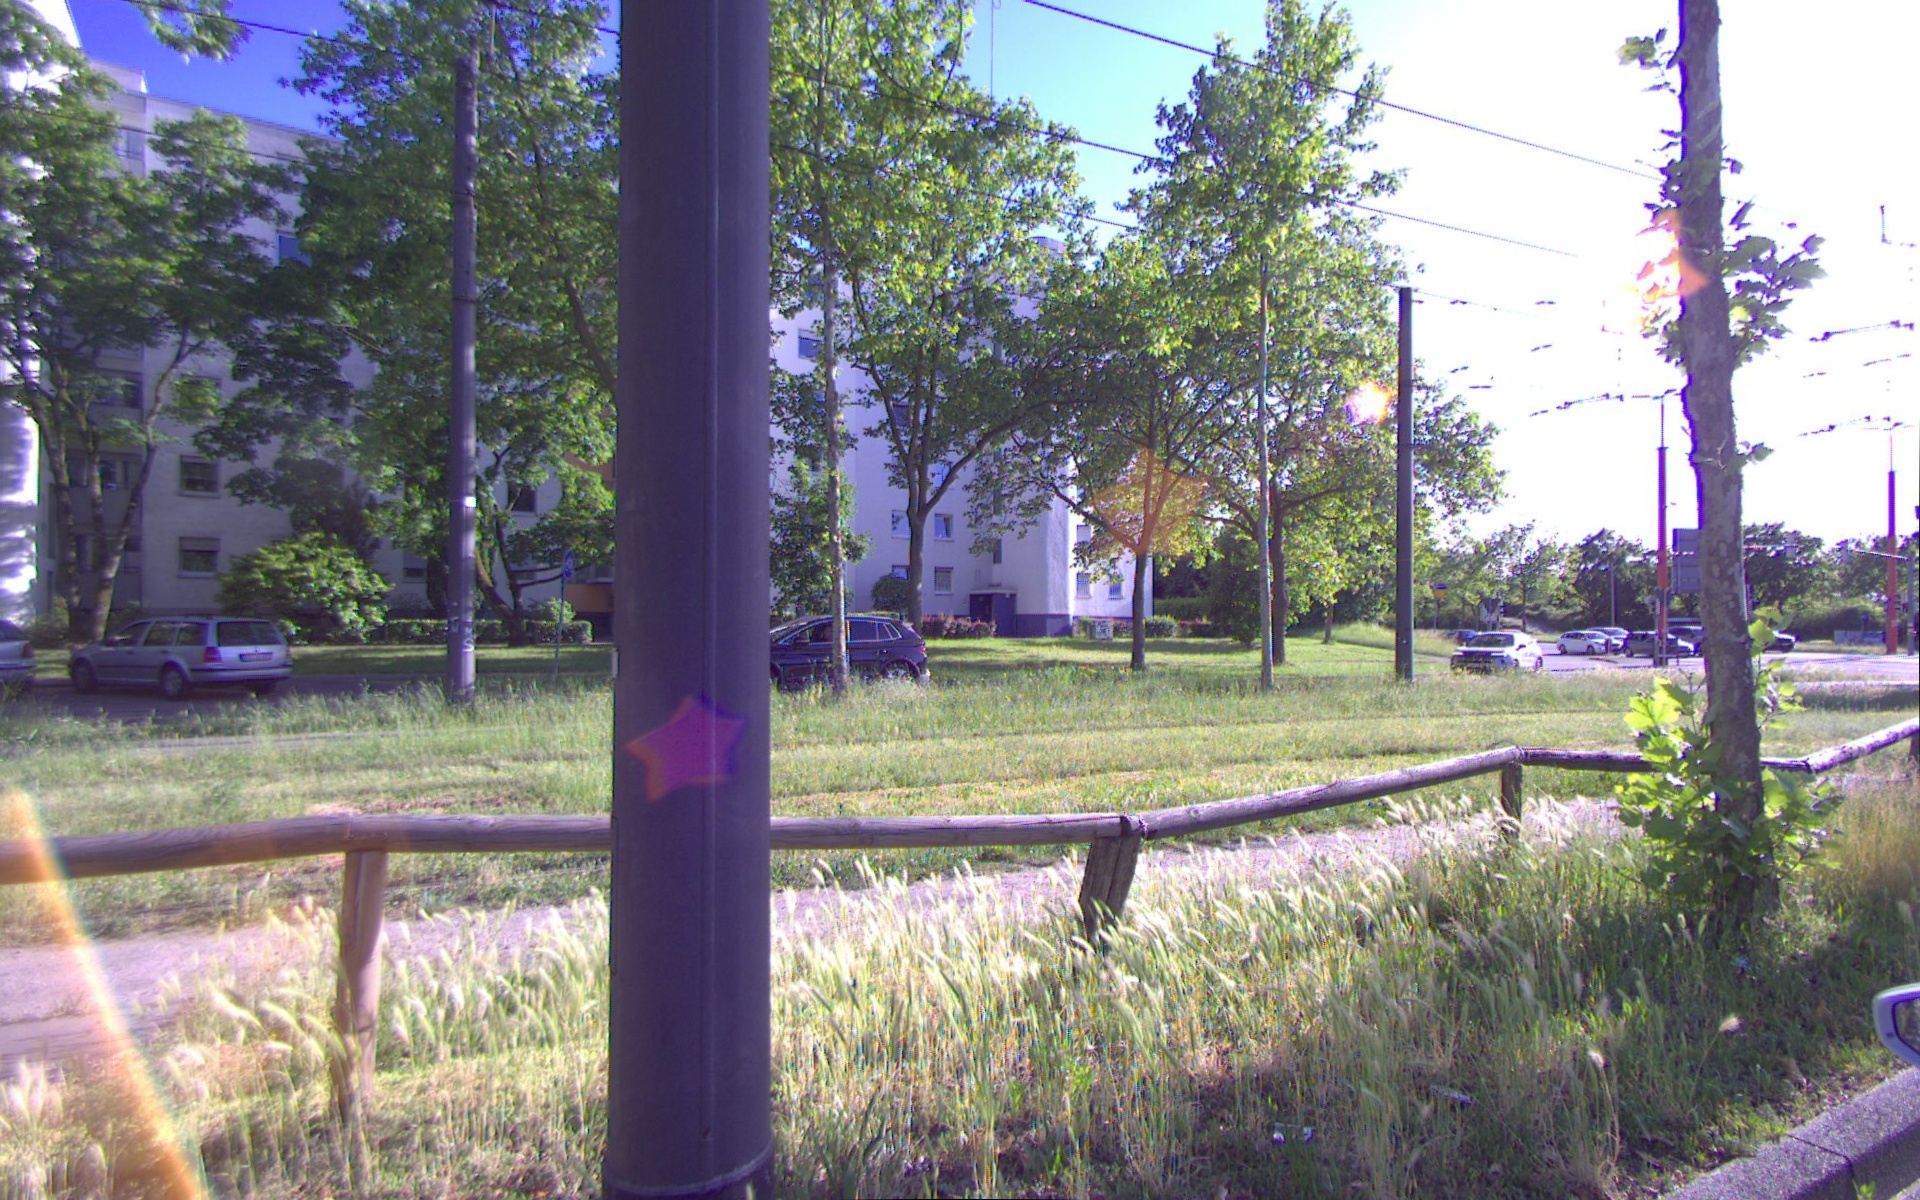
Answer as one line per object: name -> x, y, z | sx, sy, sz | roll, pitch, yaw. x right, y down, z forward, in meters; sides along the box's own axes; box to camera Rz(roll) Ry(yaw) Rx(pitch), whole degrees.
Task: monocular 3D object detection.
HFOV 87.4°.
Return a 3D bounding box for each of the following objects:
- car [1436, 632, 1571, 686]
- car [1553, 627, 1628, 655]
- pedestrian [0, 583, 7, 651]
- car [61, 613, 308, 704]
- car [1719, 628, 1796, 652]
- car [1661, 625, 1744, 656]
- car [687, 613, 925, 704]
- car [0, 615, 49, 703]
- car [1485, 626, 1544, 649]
car -> 16.961, 1.808, 31.313 | 4.280, 1.543, 1.797 | 1, -1, -31
car -> 39.205, 2.511, 62.584 | 1.833, 1.633, 4.185 | 1, -1, -4
pedestrian -> -25.489, 0.449, 26.310 | 0.628, 1.780, 0.518 | 1, -1, -32
car -> -14.343, 1.019, 18.607 | 3.898, 1.462, 1.710 | 1, 0, 18
car -> 49.017, 2.457, 61.863 | 1.664, 1.347, 4.001 | 1, -1, 2
car -> 42.705, 2.303, 57.887 | 1.960, 1.666, 4.001 | 1, -1, 2
car -> -2.857, 1.038, 18.840 | 4.054, 1.532, 1.756 | 1, -1, -30
car -> -17.743, 0.975, 17.241 | 3.547, 1.439, 1.576 | 1, 0, 18
car -> 38.825, 2.586, 70.438 | 1.699, 1.533, 3.998 | 1, -1, -4
